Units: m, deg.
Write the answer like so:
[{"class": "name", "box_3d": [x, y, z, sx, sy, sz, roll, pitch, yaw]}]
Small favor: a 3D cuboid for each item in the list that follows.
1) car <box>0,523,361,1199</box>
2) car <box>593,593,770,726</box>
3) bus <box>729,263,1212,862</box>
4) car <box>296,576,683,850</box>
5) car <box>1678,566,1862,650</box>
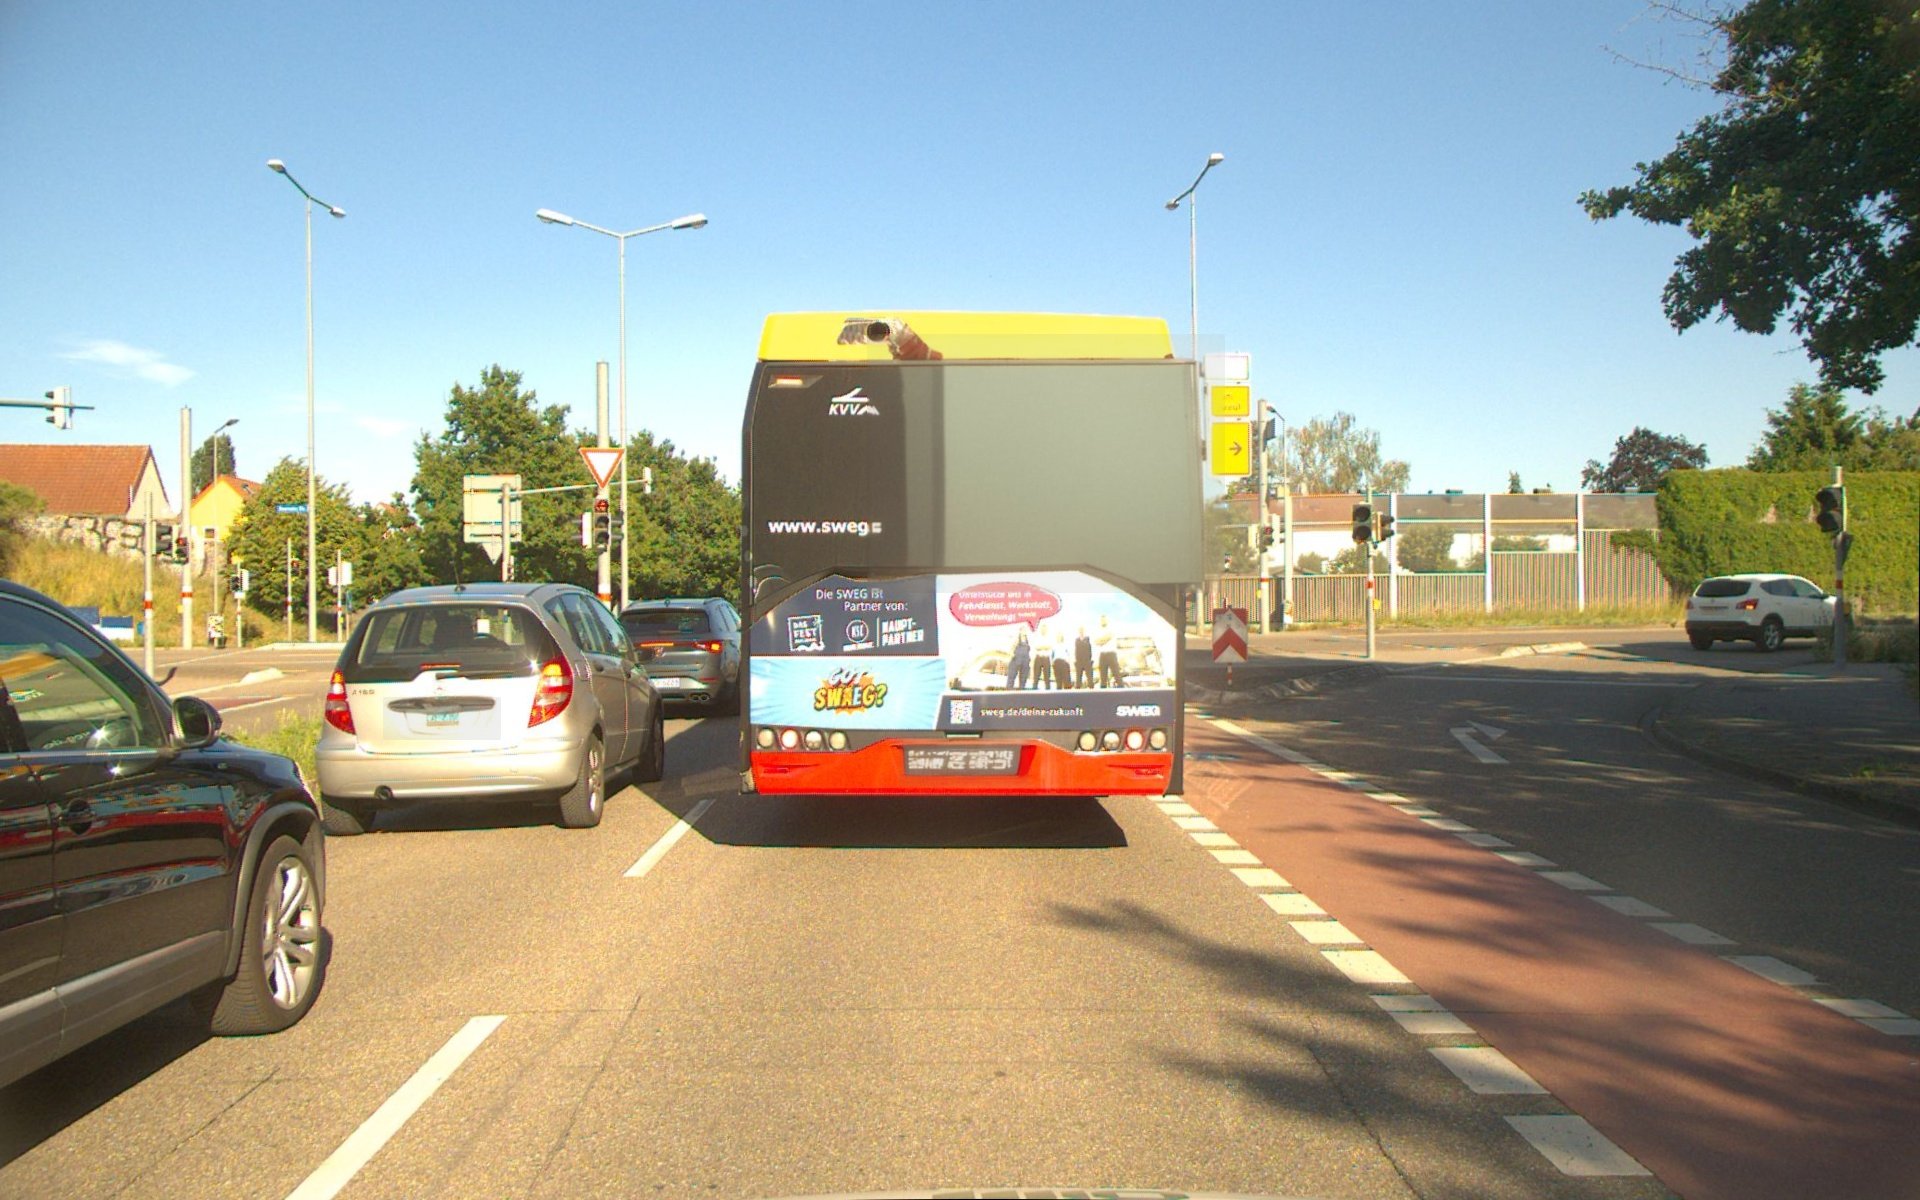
[{"class": "car", "box_3d": [-3.141, 0.688, 4.304, 1.736, 1.682, 3.999, -2, 0, -1]}, {"class": "car", "box_3d": [-3.446, 0.678, 21.059, 1.658, 1.484, 3.750, -2, 0, -1]}, {"class": "bus", "box_3d": [0.024, -0.252, 14.894, 2.589, 3.222, 11.860, 0, 0, 0]}, {"class": "car", "box_3d": [-3.214, 0.684, 12.131, 1.725, 1.617, 3.999, -2, 0, -1]}, {"class": "car", "box_3d": [17.450, 0.128, 35.589, 4.015, 1.635, 1.704, -2, 1, -32]}]
